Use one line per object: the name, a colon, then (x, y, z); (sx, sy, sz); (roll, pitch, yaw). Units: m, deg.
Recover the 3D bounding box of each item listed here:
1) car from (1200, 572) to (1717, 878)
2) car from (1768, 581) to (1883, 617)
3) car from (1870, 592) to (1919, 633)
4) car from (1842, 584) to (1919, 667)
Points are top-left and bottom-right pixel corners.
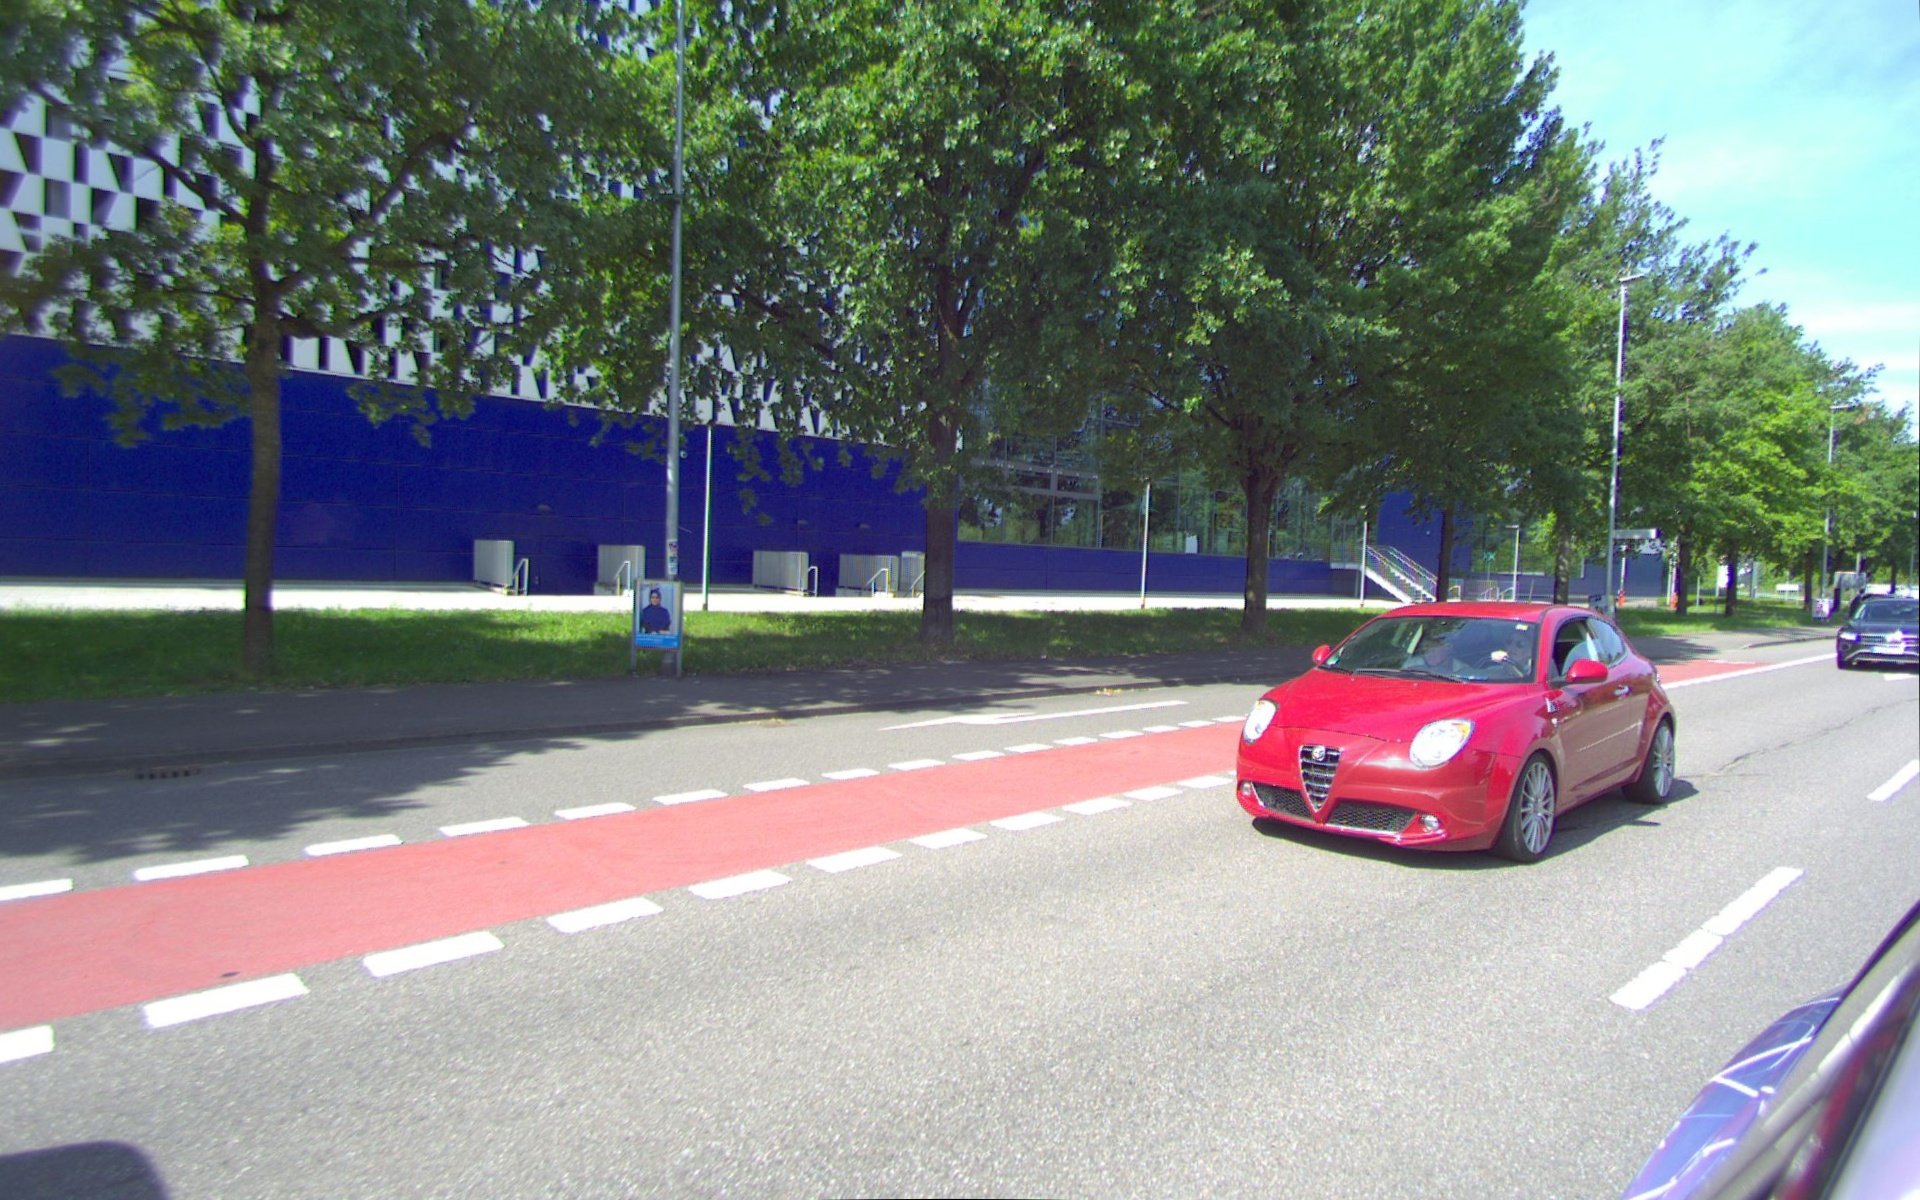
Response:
car: (3.540, 0.568, 6.877); (3.910, 1.472, 1.797); (-1, 2, -41)
car: (48.016, -0.082, 56.246); (1.808, 1.714, 4.463); (0, 4, -33)
car: (49.887, 0.666, 52.134); (1.959, 2.039, 4.007); (1, 1, -26)
car: (20.793, 0.527, 21.993); (4.039, 1.662, 1.823); (0, 1, -40)
